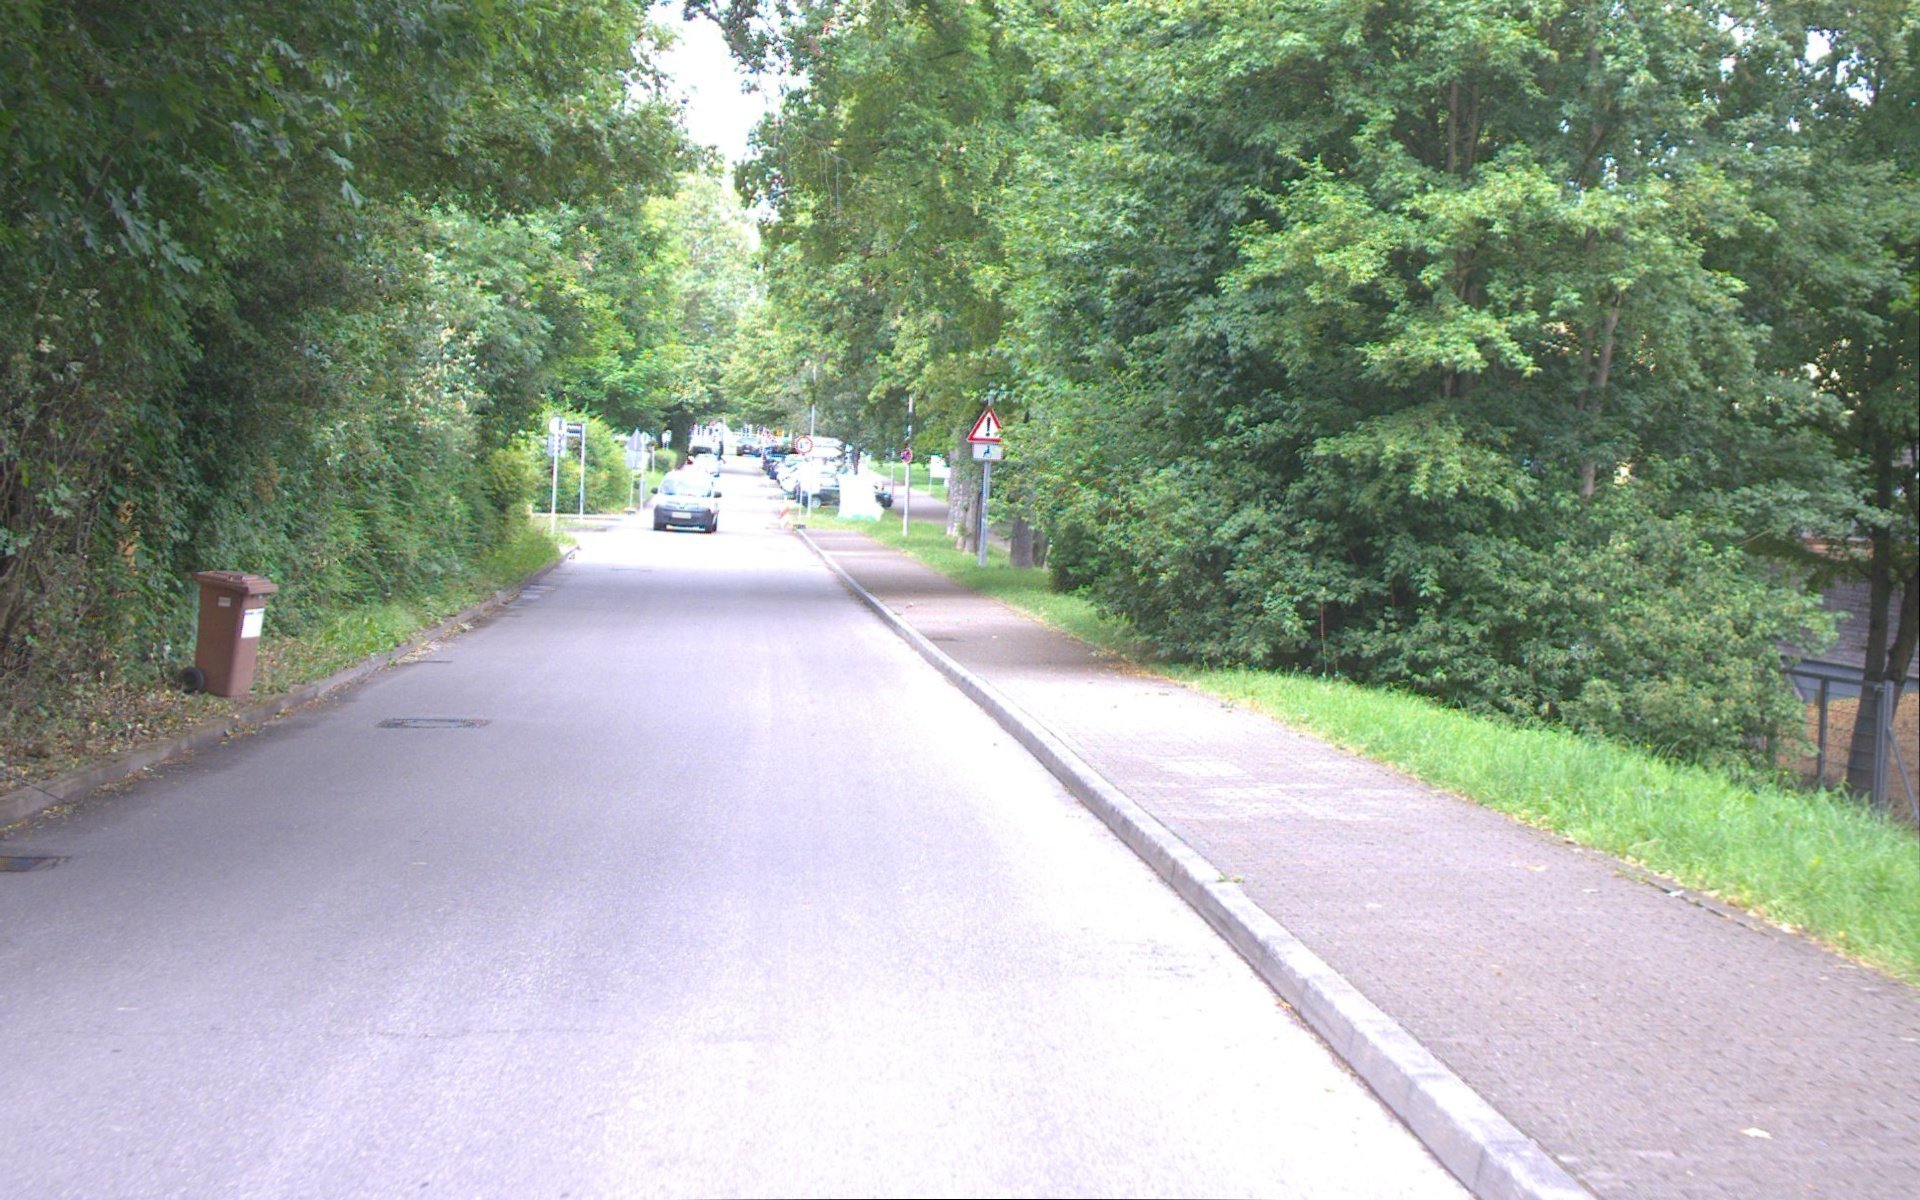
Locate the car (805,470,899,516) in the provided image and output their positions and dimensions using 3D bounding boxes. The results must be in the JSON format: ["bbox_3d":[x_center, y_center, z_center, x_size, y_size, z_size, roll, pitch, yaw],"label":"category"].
[{"bbox_3d":[-4.672,-4.624,148.737,3.986,1.766,2.000,2,0,-2],"label":"car"}]

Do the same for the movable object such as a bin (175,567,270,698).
[{"bbox_3d":[-5.556,0.241,25.923,0.590,0.954,0.470,2,0,-2],"label":"movable object such as a bin"}]

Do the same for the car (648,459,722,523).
[{"bbox_3d":[-8.270,-3.263,103.513,1.993,1.766,4.000,2,0,-2],"label":"car"}]
